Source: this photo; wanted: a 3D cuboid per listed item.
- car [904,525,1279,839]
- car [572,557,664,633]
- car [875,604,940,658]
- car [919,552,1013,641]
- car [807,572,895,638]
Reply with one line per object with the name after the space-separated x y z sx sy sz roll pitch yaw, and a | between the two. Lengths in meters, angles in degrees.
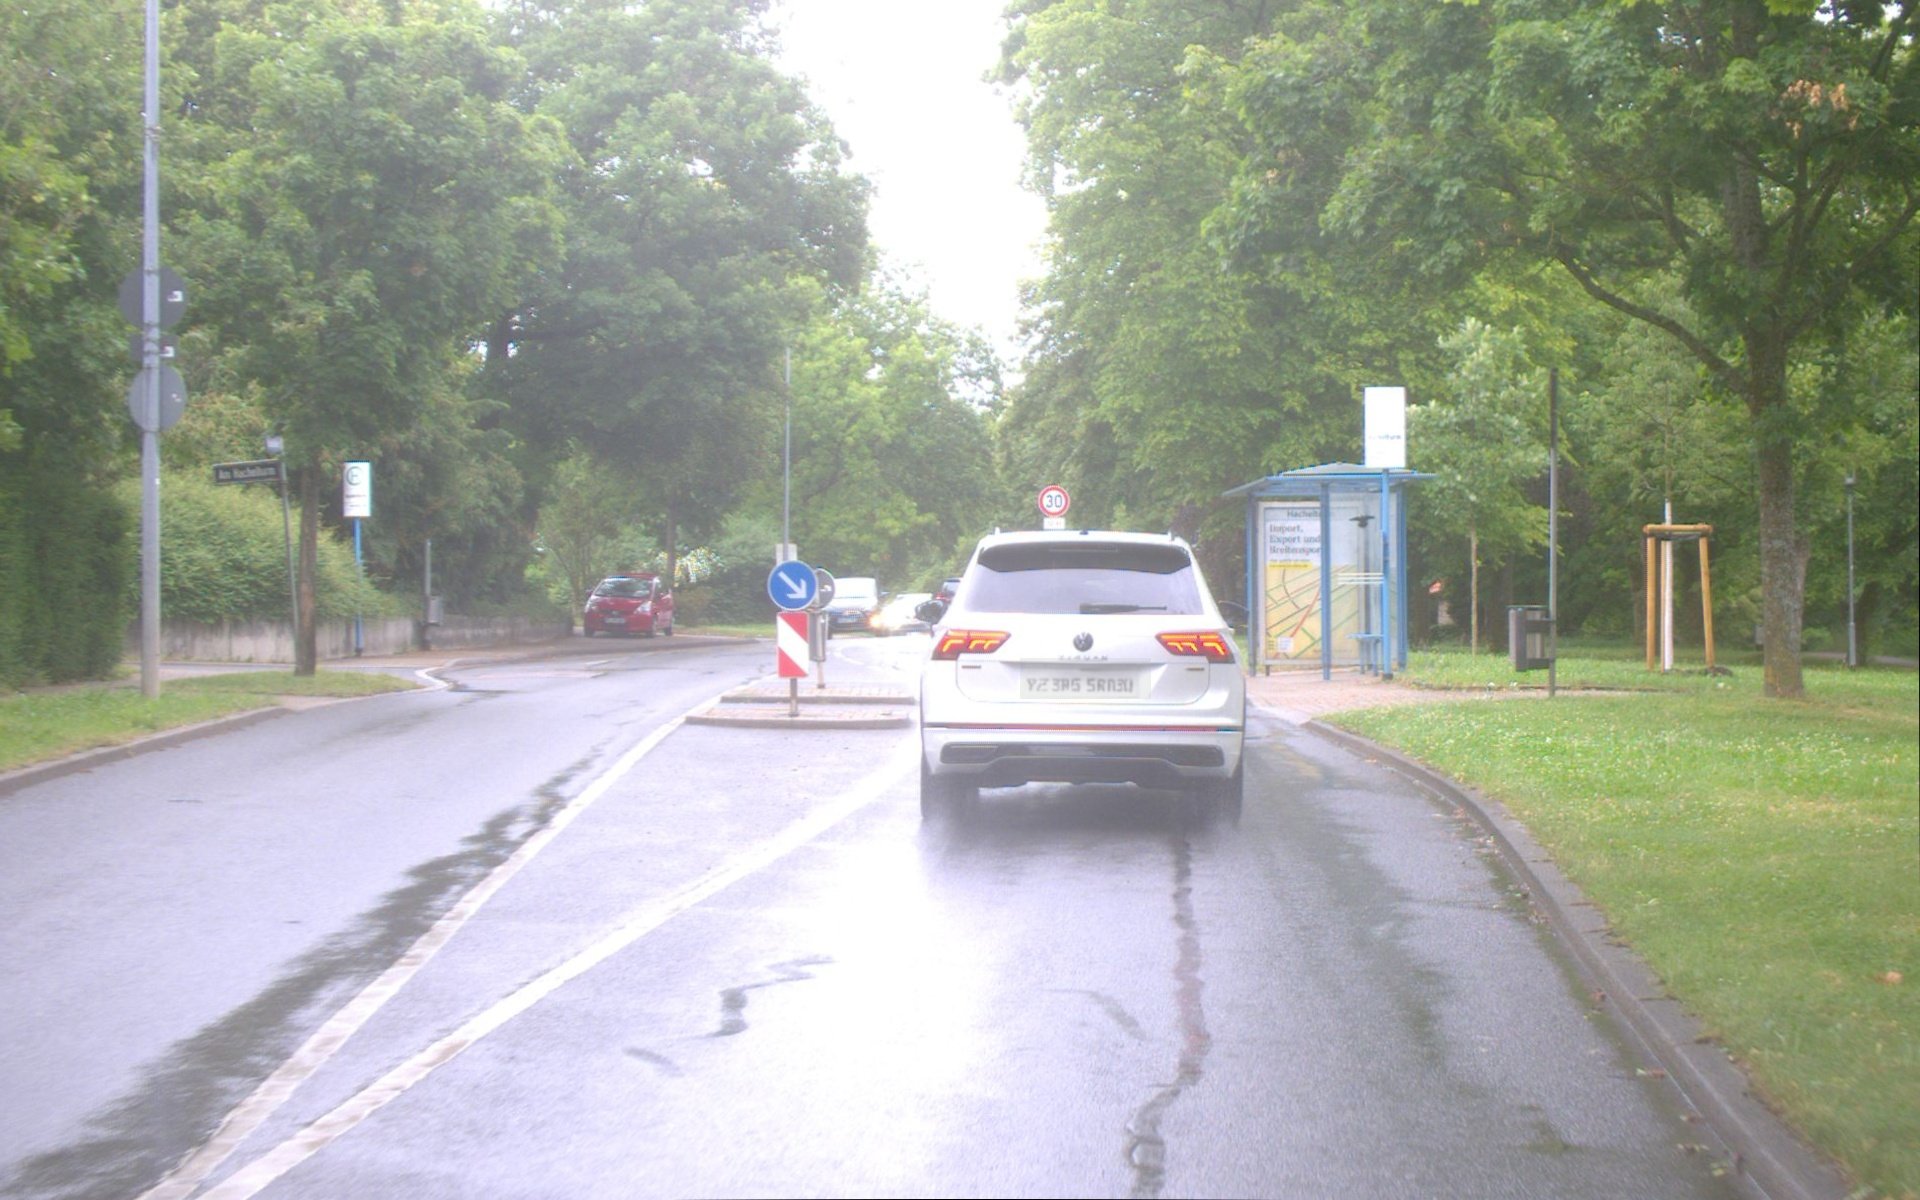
0.691 0.412 20.409 1.974 1.647 4.177 1 1 0 | car
-8.292 -0.098 83.717 1.993 1.757 4.000 2 -1 -3 | car
-1.805 1.052 116.275 1.993 1.738 4.000 2 -1 -3 | car
0.122 -0.056 82.807 1.901 2.007 3.945 2 -1 -4 | car
-2.876 0.119 89.878 2.116 1.633 4.001 1 1 -4 | car
